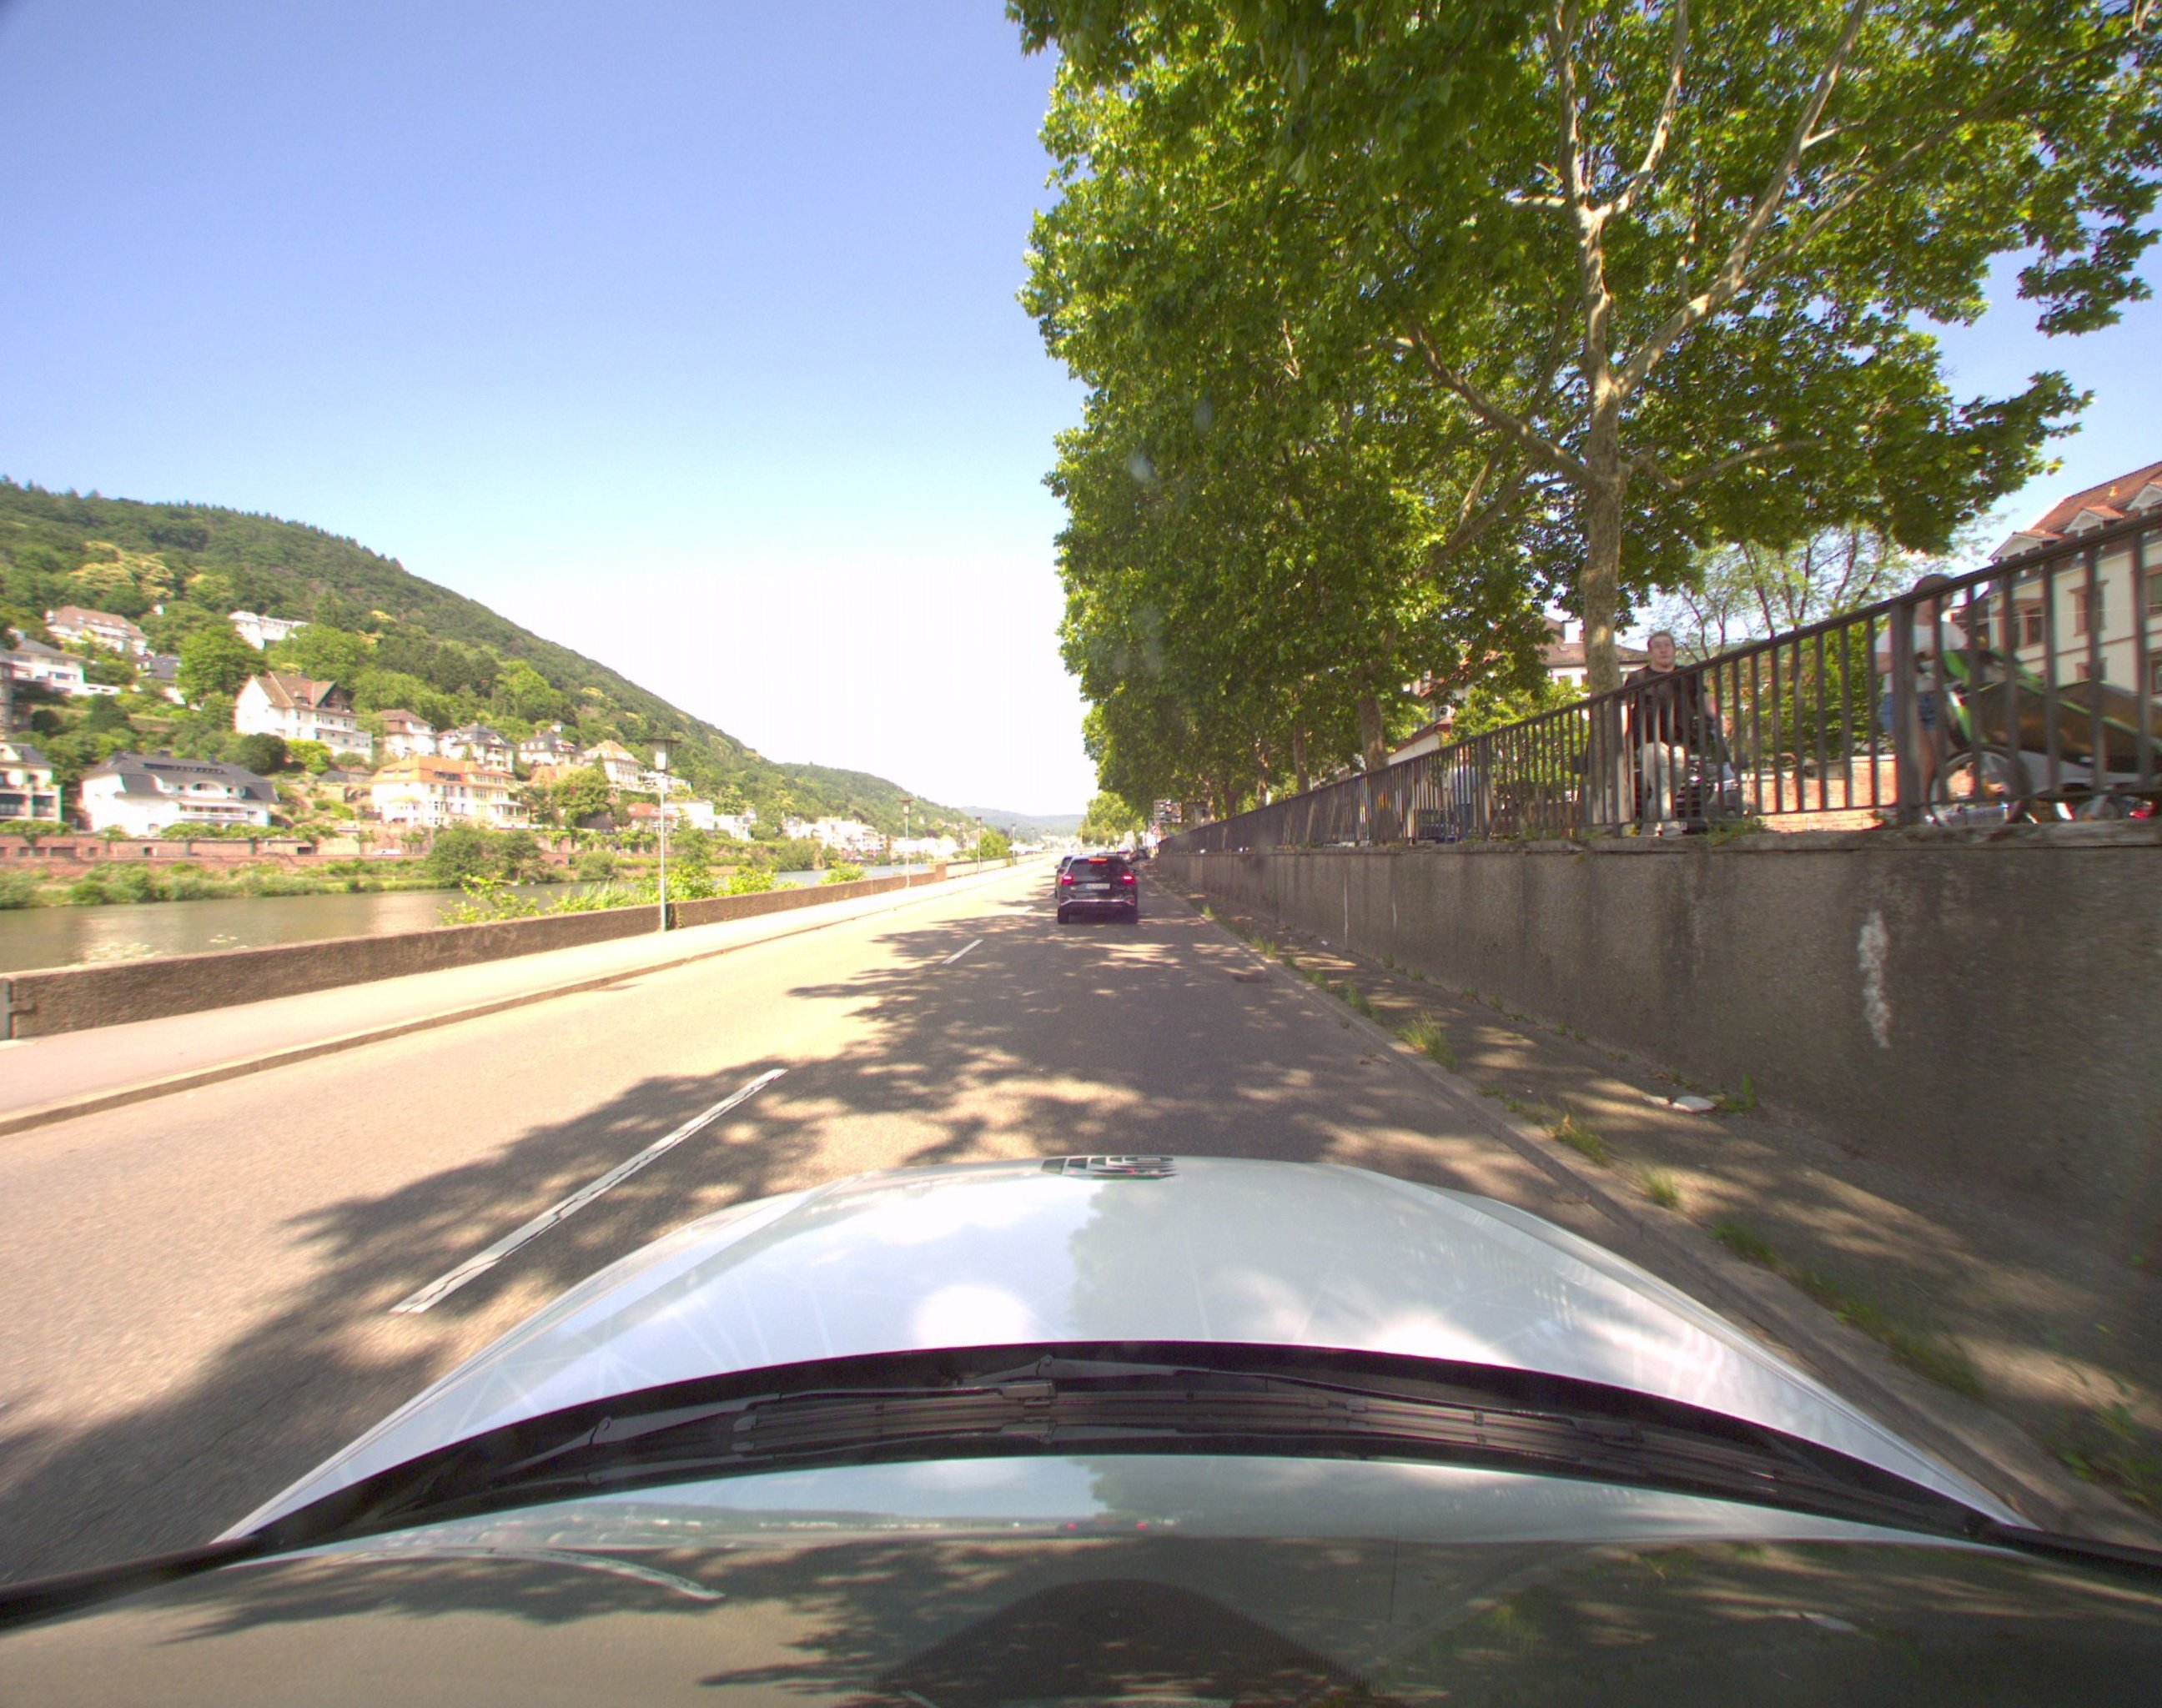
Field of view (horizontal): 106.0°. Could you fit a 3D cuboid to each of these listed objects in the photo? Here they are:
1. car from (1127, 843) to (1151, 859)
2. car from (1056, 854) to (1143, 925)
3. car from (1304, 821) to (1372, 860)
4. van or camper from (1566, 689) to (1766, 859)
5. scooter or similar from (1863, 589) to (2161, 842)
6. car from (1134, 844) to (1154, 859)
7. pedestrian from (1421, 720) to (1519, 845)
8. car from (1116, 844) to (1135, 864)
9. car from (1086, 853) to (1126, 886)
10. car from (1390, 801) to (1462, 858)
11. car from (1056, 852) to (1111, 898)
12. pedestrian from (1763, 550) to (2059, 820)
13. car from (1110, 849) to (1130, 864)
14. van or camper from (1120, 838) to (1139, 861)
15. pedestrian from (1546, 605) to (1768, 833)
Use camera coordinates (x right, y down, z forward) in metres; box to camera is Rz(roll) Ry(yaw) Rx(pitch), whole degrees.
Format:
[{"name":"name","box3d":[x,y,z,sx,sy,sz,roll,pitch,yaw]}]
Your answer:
[{"name":"car","box3d":[8.152,-0.442,115.447,3.087,2.013,5.826,-4,0,1]},{"name":"car","box3d":[0.435,0.758,19.214,1.822,1.486,4.001,0,0,1]},{"name":"car","box3d":[10.531,-0.520,33.193,1.757,1.469,4.025,0,0,30]},{"name":"van or camper","box3d":[10.202,-1.086,14.799,2.315,2.184,7.402,1,-1,31]},{"name":"scooter or similar","box3d":[4.777,-0.612,3.949,0.852,1.026,1.108,-4,0,1]},{"name":"car","box3d":[9.564,-0.344,124.863,2.652,2.013,5.826,-4,0,1]},{"name":"pedestrian","box3d":[4.791,-0.849,10.083,0.678,1.424,0.949,-4,0,1]},{"name":"car","box3d":[5.283,0.011,97.113,1.986,2.169,4.001,-3,0,1]},{"name":"car","box3d":[1.191,0.696,39.191,1.822,1.486,4.001,0,0,1]},{"name":"car","box3d":[10.200,-0.653,23.938,1.633,1.500,3.841,-1,0,27]},{"name":"car","box3d":[0.133,0.700,29.107,1.822,1.511,4.001,0,0,1]},{"name":"pedestrian","box3d":[4.868,-0.929,4.866,0.678,1.365,0.990,-4,0,1]},{"name":"car","box3d":[3.801,0.221,79.383,1.822,1.444,4.001,0,0,1]},{"name":"van or camper","box3d":[6.361,-0.545,106.025,2.300,2.847,4.249,-3,0,3]},{"name":"pedestrian","box3d":[4.498,-1.004,6.460,0.933,1.579,1.028,-4,0,0]}]
